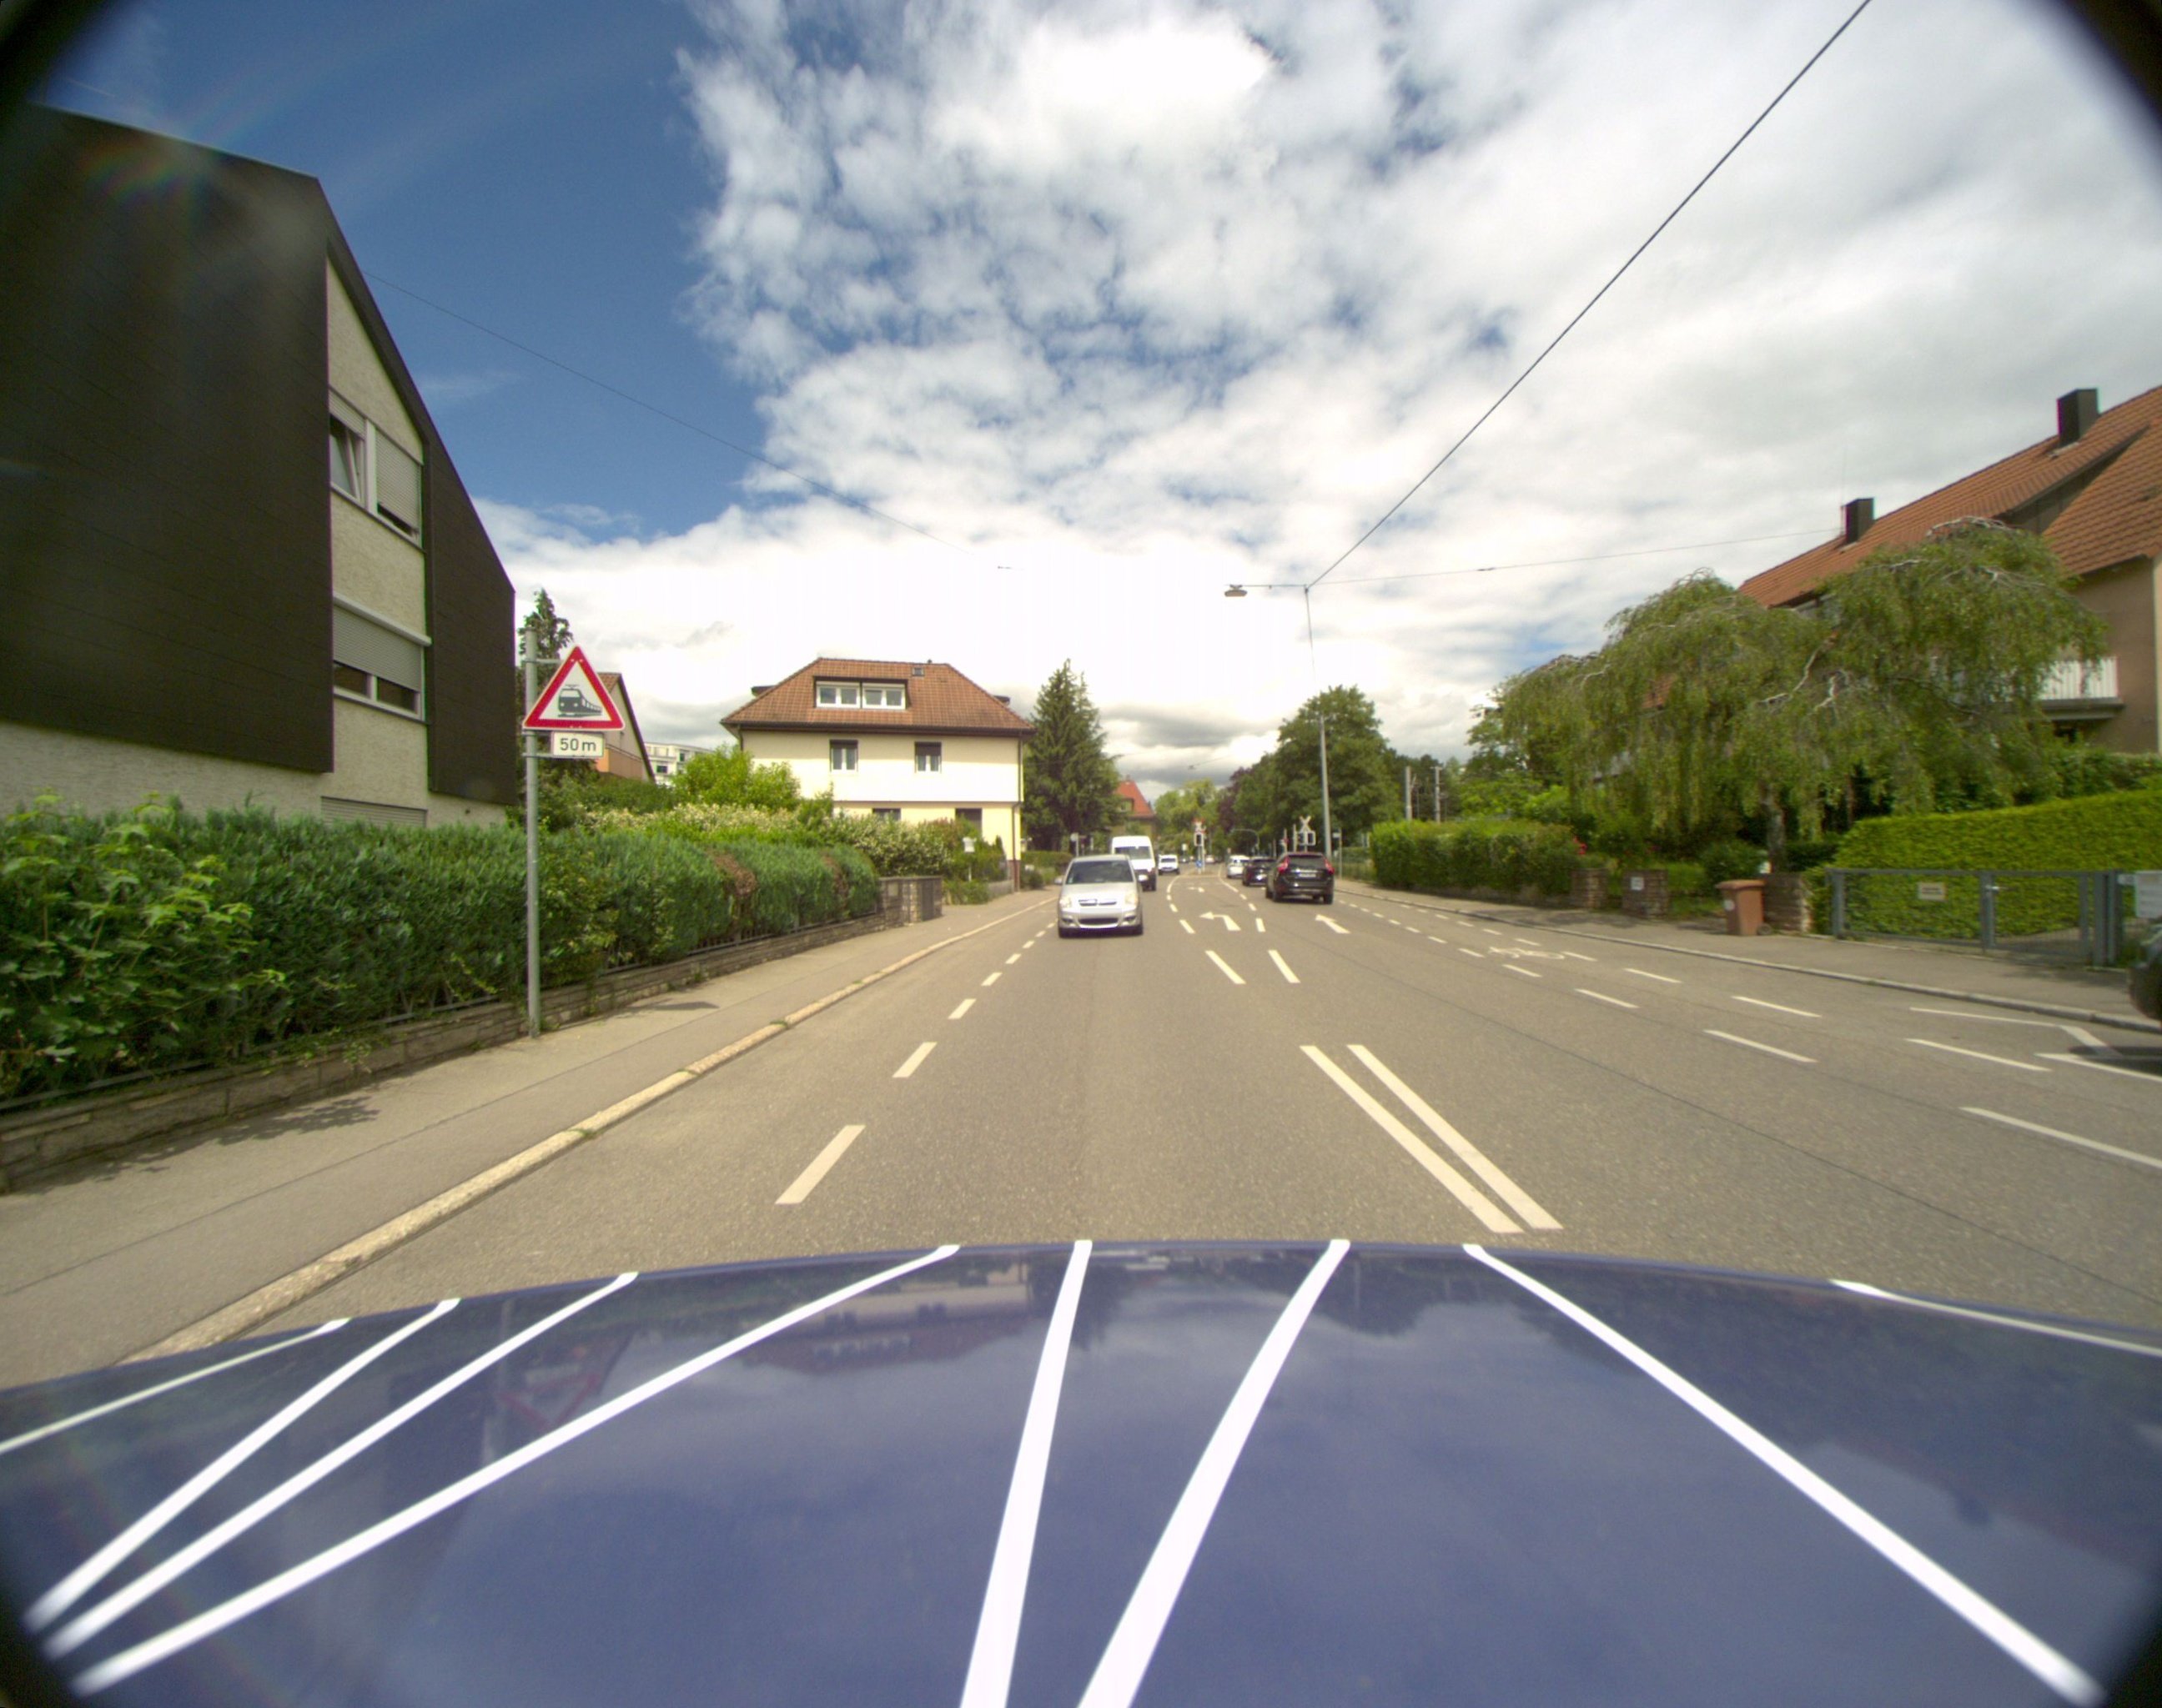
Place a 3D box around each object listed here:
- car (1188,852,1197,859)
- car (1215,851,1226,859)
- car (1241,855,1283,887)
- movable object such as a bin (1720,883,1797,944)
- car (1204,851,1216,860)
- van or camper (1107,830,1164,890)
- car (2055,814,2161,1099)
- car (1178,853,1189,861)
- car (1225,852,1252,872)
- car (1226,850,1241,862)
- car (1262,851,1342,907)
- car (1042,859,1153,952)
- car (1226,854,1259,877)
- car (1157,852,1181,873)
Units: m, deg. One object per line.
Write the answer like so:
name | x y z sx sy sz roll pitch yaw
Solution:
car | 25.560 0.283 173.920 1.932 1.412 4.003 -2 0 10
car | 26.286 0.187 142.826 1.932 1.412 4.003 -2 0 10
car | 9.066 0.814 38.351 1.700 1.448 4.118 0 1 9
movable object such as a bin | 11.233 0.982 12.615 0.678 0.939 0.645 -2 0 4
car | 21.677 0.256 127.455 1.932 1.412 4.003 -2 0 10
van or camper | 2.500 0.324 36.302 2.030 2.564 5.922 -2 -1 -2
car | 8.132 0.694 2.857 1.998 1.884 5.403 1 0 1
car | 20.338 0.581 150.427 1.997 1.419 4.003 -3 0 10
car | 13.314 0.652 64.406 1.851 1.565 4.161 -2 0 8
car | 21.065 0.210 105.022 1.784 1.576 4.002 -1 0 8
car | 7.358 0.750 25.710 1.919 1.639 4.296 3 1 8
car | 0.479 0.916 15.448 1.707 1.531 4.333 -2 0 8
car | 10.920 0.747 51.496 1.879 1.467 4.444 0 0 8
car | 7.956 0.743 68.662 1.932 1.771 4.002 -2 0 8
